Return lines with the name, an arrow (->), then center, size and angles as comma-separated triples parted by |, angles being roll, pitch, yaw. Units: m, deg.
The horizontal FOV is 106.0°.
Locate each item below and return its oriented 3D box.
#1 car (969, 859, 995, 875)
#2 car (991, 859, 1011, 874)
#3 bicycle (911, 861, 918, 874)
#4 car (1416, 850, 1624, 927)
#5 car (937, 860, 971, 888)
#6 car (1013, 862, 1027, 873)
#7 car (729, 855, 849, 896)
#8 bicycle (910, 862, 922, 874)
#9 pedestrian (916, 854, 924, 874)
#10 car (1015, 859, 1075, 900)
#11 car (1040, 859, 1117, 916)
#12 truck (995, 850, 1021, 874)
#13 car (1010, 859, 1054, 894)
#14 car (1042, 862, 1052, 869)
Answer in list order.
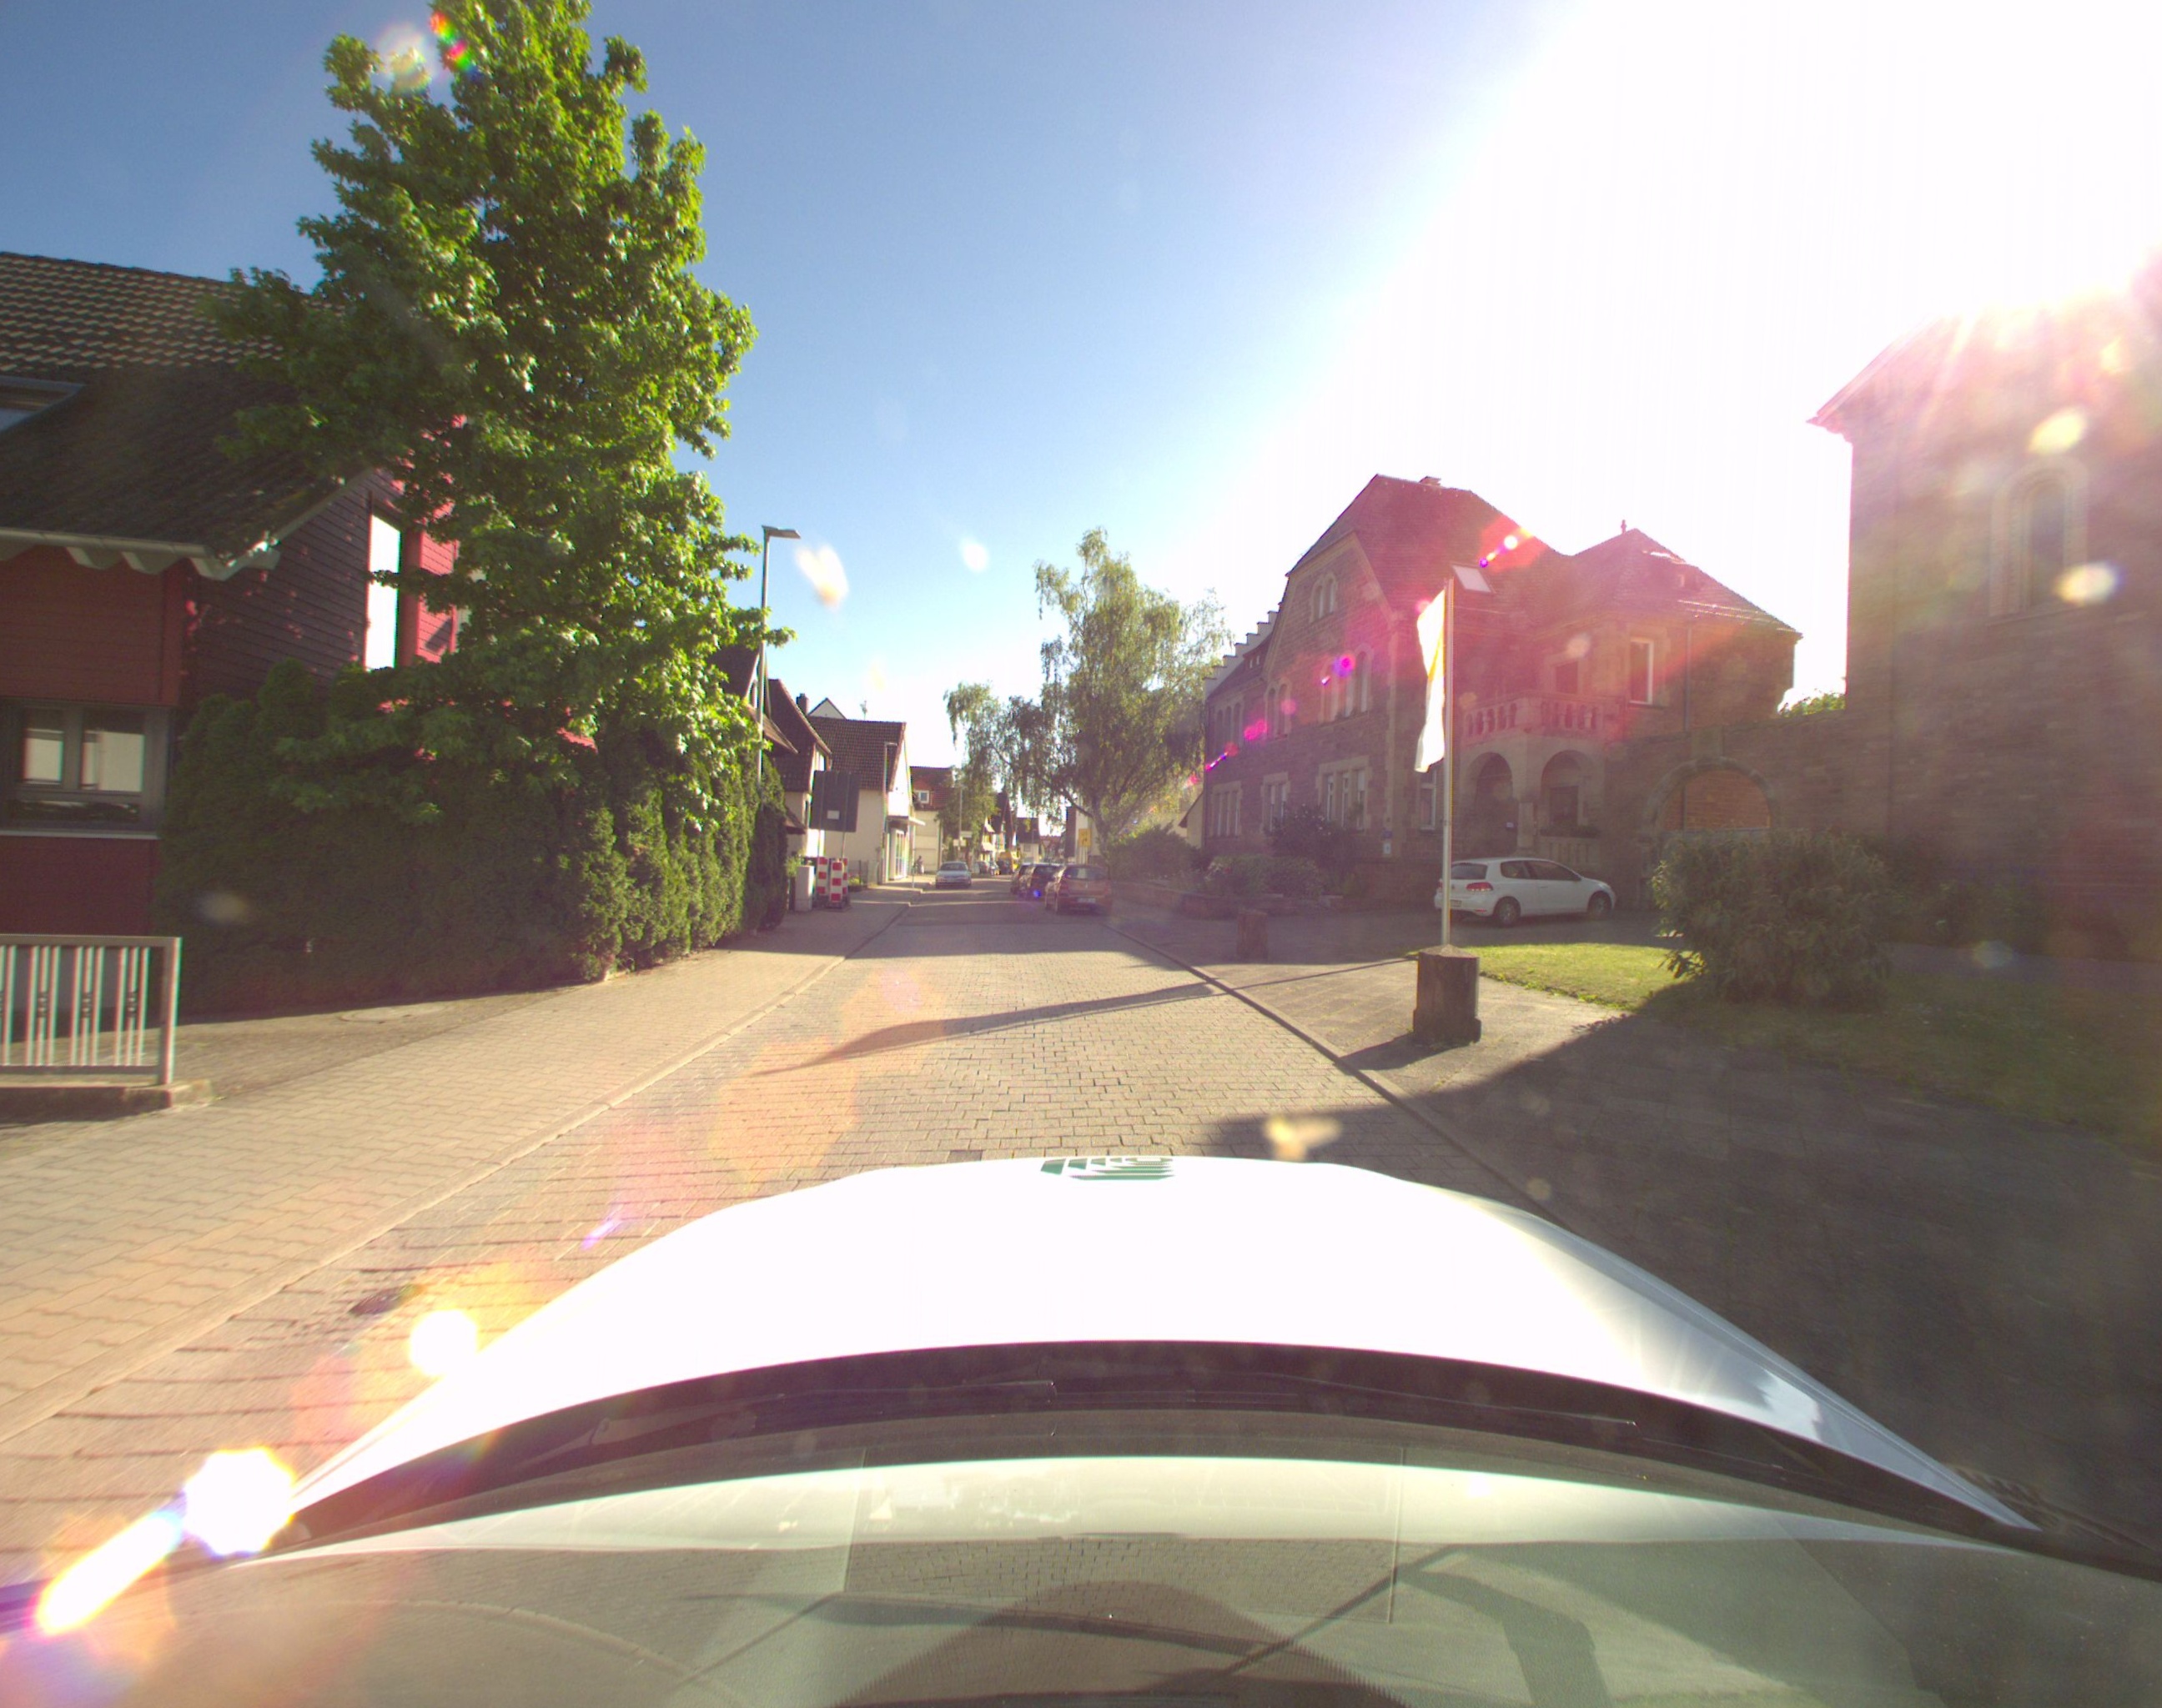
car -> -9.656, 1.287, 80.001 | 1.860, 1.506, 4.109 | 2, -1, 2
car -> -9.145, 1.489, 93.323 | 1.799, 1.622, 3.882 | 2, -1, 2
bicycle -> -13.814, 1.161, 67.450 | 0.422, 1.052, 1.378 | 2, -2, -6
car -> 9.882, 0.744, 18.408 | 3.906, 1.496, 1.894 | -2, -1, -16
car -> -6.778, 1.048, 43.679 | 1.670, 1.402, 3.881 | 1, 0, -8
car -> -8.073, 1.808, 107.914 | 1.640, 1.433, 3.613 | 2, -1, -1
car -> -11.134, 0.792, 31.338 | 4.163, 1.462, 1.840 | 0, 0, -13
bicycle -> -14.345, 1.221, 70.817 | 0.576, 1.052, 2.035 | 1, -2, 0
pedestrian -> -13.406, 0.829, 67.670 | 0.482, 1.693, 0.556 | 2, -3, -3
car -> -1.526, 0.978, 32.910 | 1.808, 1.436, 4.270 | 2, 0, -10
car -> -0.157, 0.946, 24.590 | 1.648, 1.479, 3.920 | 2, 0, -10
truck -> -8.817, 1.012, 98.901 | 2.259, 2.869, 5.785 | 2, -1, 2
car -> -2.321, 1.005, 37.559 | 1.805, 1.436, 4.276 | 2, 0, -6
car -> -8.851, 3.013, 213.903 | 1.975, 1.583, 3.978 | 2, -1, -12
